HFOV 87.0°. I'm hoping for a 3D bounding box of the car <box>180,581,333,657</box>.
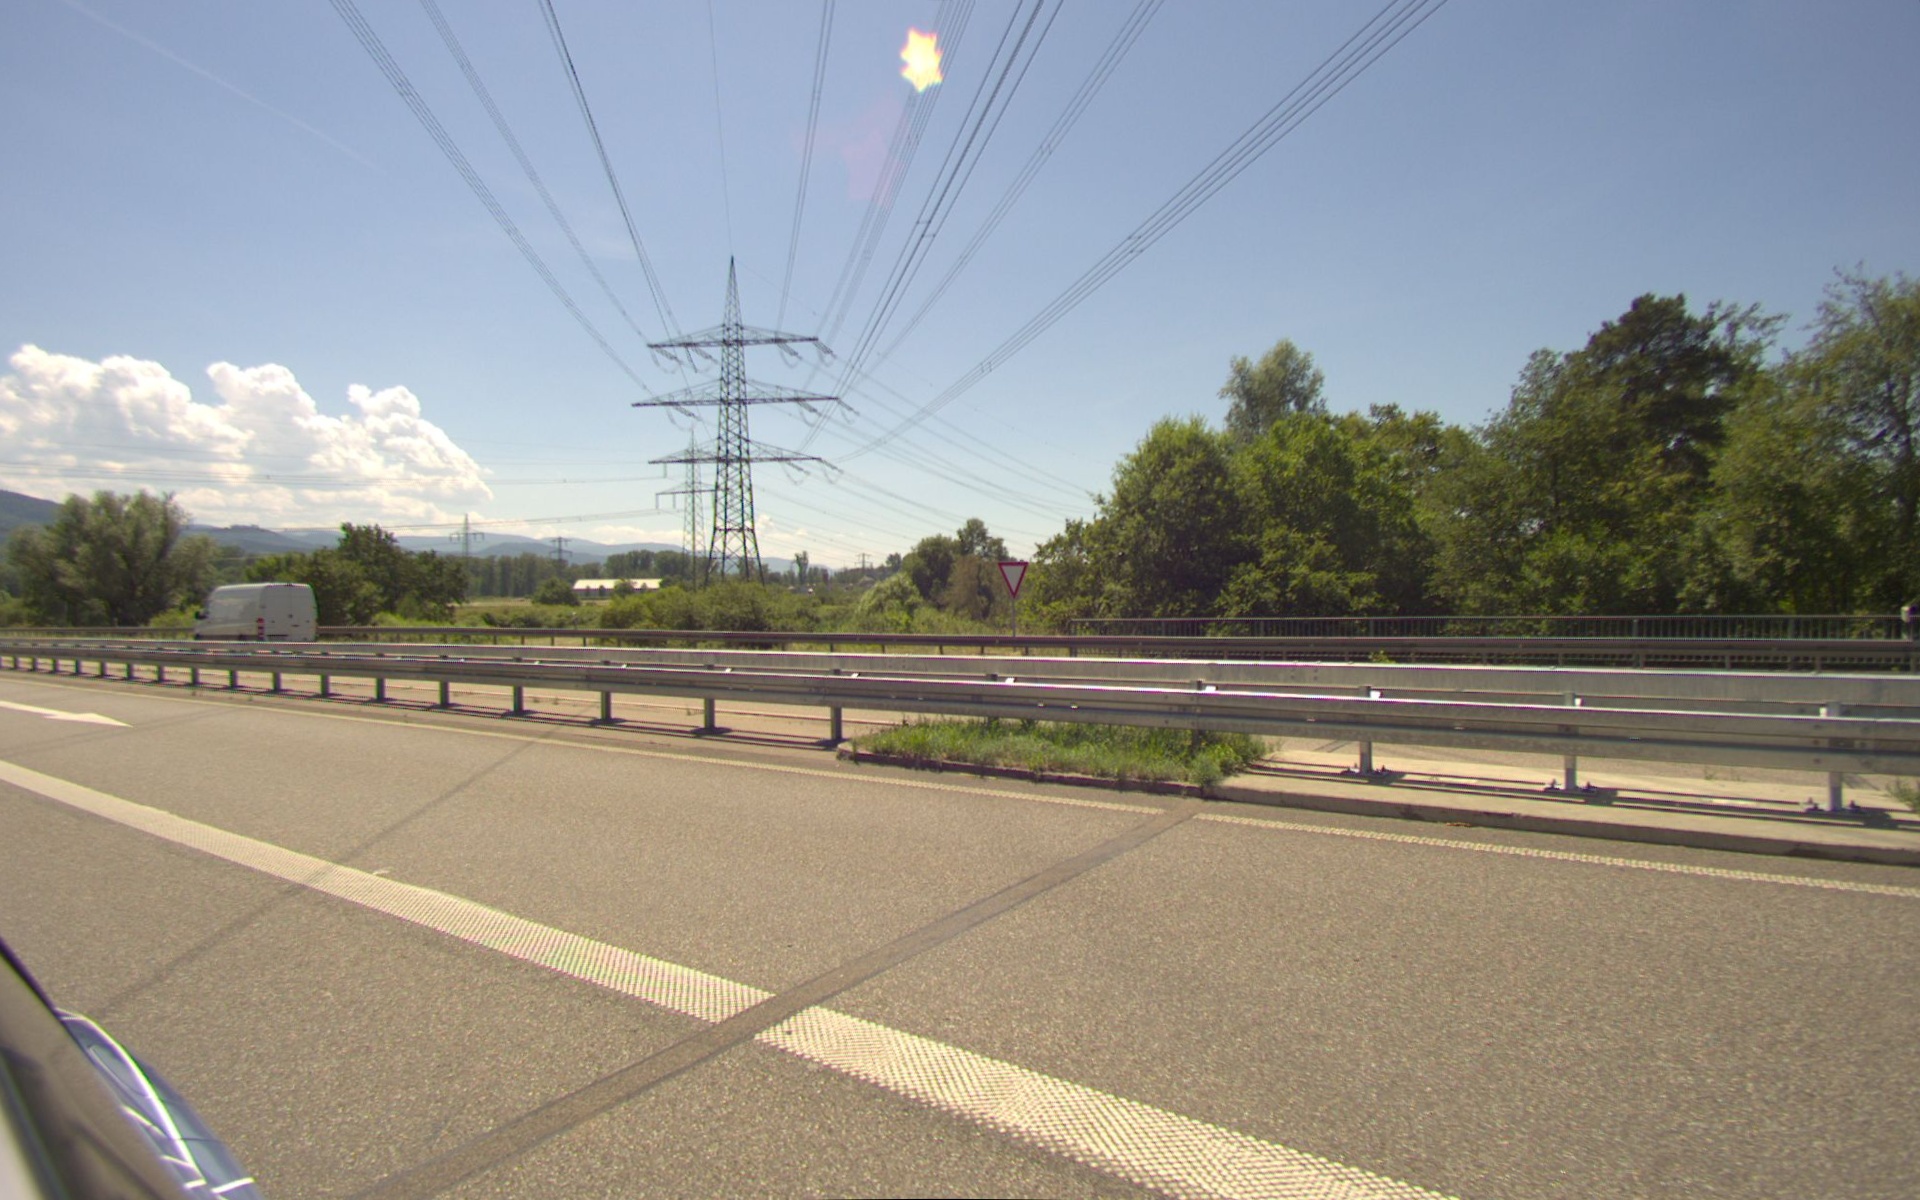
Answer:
[{"bbox_3d":[-26.719,0.738,38.327,7.170,2.638,2.502,-1,-2,36],"label":"car"}]
